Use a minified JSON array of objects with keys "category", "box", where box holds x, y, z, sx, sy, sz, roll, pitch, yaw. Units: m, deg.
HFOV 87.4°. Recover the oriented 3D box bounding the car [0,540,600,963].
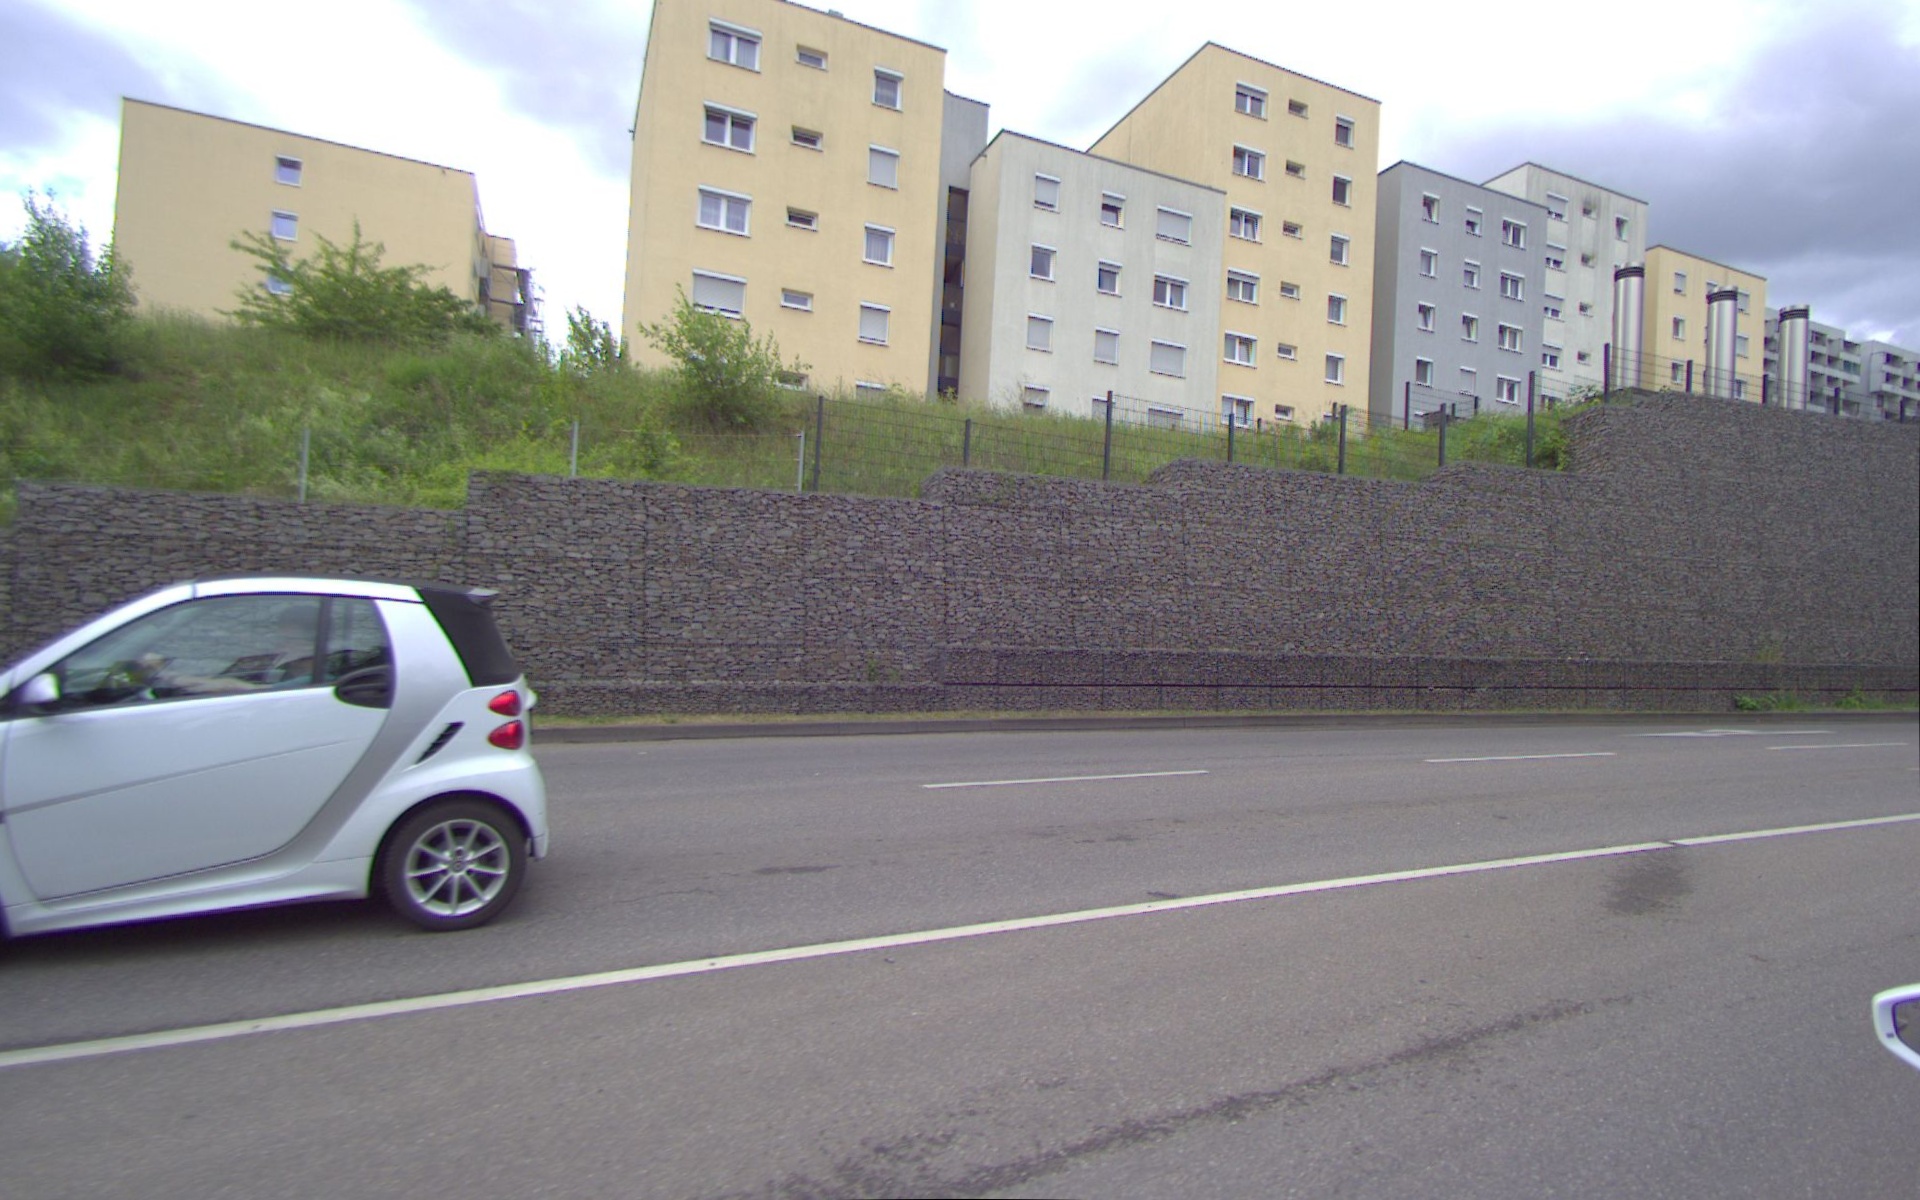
[{"category":"car","box":[-3.283,0.561,4.630,2.876,1.544,1.538,2,0,-27]}]
